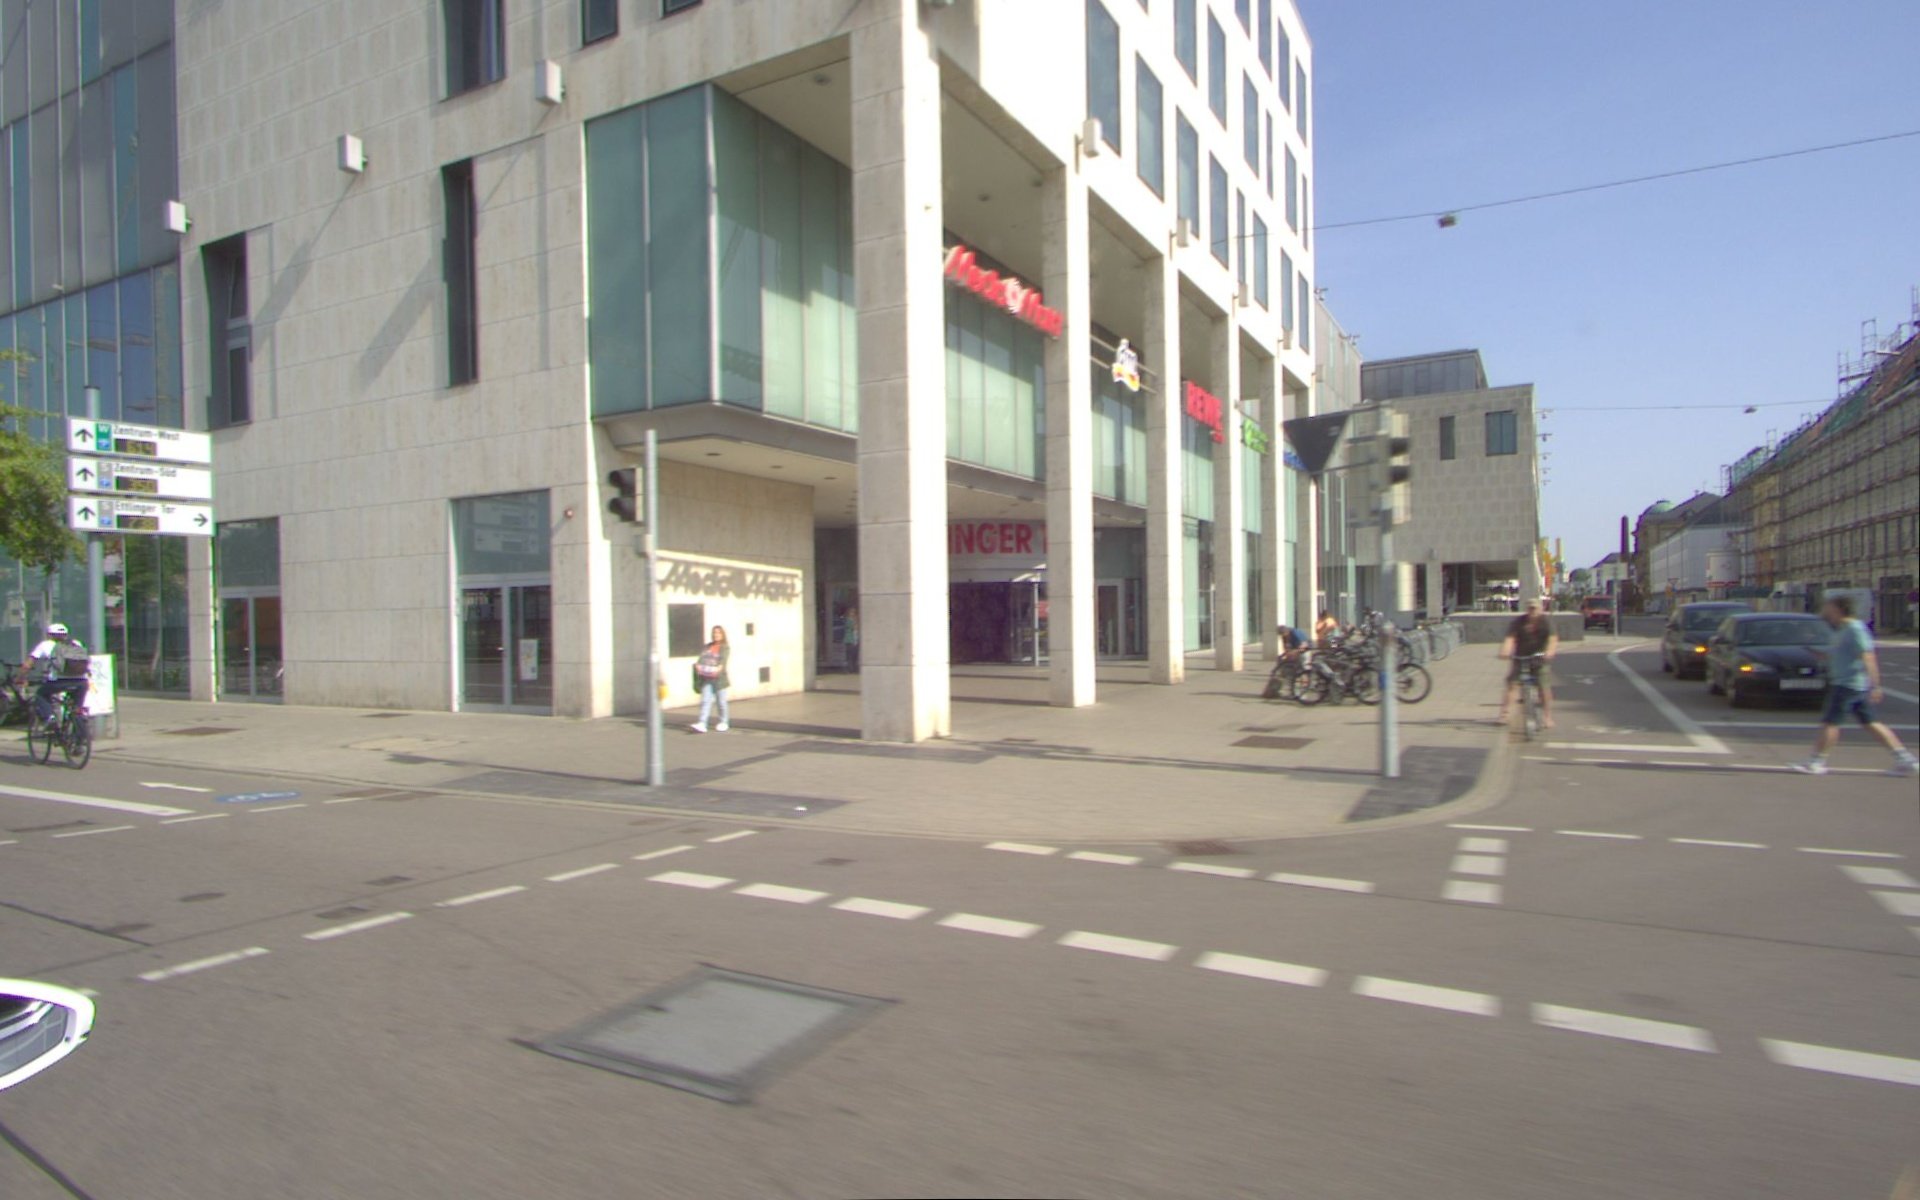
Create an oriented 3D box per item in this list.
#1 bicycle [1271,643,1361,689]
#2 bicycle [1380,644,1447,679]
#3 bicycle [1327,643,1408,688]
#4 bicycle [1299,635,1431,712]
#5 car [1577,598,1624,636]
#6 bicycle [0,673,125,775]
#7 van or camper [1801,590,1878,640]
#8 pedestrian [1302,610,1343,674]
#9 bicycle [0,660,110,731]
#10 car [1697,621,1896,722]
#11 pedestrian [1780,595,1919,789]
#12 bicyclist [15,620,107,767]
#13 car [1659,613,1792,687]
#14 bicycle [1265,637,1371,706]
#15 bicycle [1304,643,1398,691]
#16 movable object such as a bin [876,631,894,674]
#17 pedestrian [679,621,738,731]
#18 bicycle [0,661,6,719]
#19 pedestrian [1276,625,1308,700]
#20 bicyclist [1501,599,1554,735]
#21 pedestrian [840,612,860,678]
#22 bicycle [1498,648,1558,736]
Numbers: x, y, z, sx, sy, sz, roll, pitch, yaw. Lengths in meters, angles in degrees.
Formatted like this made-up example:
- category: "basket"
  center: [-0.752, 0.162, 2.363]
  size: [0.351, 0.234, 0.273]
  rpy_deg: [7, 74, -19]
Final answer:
- category: "bicycle"
  center: [7.960, 1.464, 22.442]
  size: [1.832, 0.969, 0.457]
  rpy_deg: [-1, -1, 37]
- category: "bicycle"
  center: [12.816, 1.734, 28.297]
  size: [1.689, 0.969, 0.458]
  rpy_deg: [-1, -1, 27]
- category: "bicycle"
  center: [9.318, 1.483, 22.942]
  size: [1.648, 0.969, 0.457]
  rpy_deg: [-1, -1, 37]
- category: "bicycle"
  center: [6.936, 1.238, 17.200]
  size: [2.039, 1.253, 0.612]
  rpy_deg: [-1, -1, 30]
- category: "car"
  center: [43.568, 1.207, 68.255]
  size: [2.389, 2.440, 4.989]
  rpy_deg: [-1, -3, 30]
- category: "bicycle"
  center: [-11.366, 1.524, 12.601]
  size: [2.020, 1.132, 0.660]
  rpy_deg: [-1, 0, 30]
- category: "van or camper"
  center: [45.066, 0.778, 51.437]
  size: [1.970, 2.441, 5.121]
  rpy_deg: [-1, -1, 30]
- category: "pedestrian"
  center: [8.663, 0.992, 23.952]
  size: [0.724, 1.505, 0.602]
  rpy_deg: [-1, 0, -3]
- category: "bicycle"
  center: [-15.645, 1.591, 16.913]
  size: [0.676, 1.127, 1.838]
  rpy_deg: [-1, -2, 29]
- category: "car"
  center: [13.300, 1.073, 16.178]
  size: [1.850, 1.384, 3.886]
  rpy_deg: [-2, -2, 31]
- category: "pedestrian"
  center: [8.436, 0.834, 9.485]
  size: [0.976, 1.733, 0.641]
  rpy_deg: [-1, 0, 35]
- category: "bicyclist"
  center: [-11.229, 1.137, 12.512]
  size: [0.758, 1.772, 0.650]
  rpy_deg: [-1, 0, 30]
- category: "car"
  center: [16.285, 1.011, 21.487]
  size: [1.852, 1.420, 3.894]
  rpy_deg: [-1, -1, 32]
- category: "bicycle"
  center: [6.485, 1.280, 18.179]
  size: [1.764, 1.215, 0.500]
  rpy_deg: [-1, 0, 26]
- category: "bicycle"
  center: [8.377, 1.416, 21.491]
  size: [1.832, 0.969, 0.457]
  rpy_deg: [-1, -1, 37]
- category: "movable object such as a bin"
  center: [-1.943, 1.359, 26.040]
  size: [0.350, 1.113, 0.292]
  rpy_deg: [-1, 0, 30]
- category: "pedestrian"
  center: [-3.546, 1.060, 14.141]
  size: [0.593, 1.507, 0.710]
  rpy_deg: [0, 0, 5]
- category: "bicycle"
  center: [-19.278, 1.752, 18.838]
  size: [0.483, 1.124, 1.876]
  rpy_deg: [-1, -1, 29]
- category: "pedestrian"
  center: [6.260, 1.167, 18.873]
  size: [0.538, 1.374, 0.512]
  rpy_deg: [-1, 0, 21]
- category: "bicyclist"
  center: [7.543, 0.871, 13.330]
  size: [0.573, 1.760, 0.634]
  rpy_deg: [-1, 0, 28]
- category: "pedestrian"
  center: [-2.891, 1.179, 26.399]
  size: [0.496, 1.700, 0.455]
  rpy_deg: [-1, 0, -7]
- category: "bicycle"
  center: [7.514, 1.177, 13.290]
  size: [0.602, 1.030, 1.801]
  rpy_deg: [-1, -1, 27]
